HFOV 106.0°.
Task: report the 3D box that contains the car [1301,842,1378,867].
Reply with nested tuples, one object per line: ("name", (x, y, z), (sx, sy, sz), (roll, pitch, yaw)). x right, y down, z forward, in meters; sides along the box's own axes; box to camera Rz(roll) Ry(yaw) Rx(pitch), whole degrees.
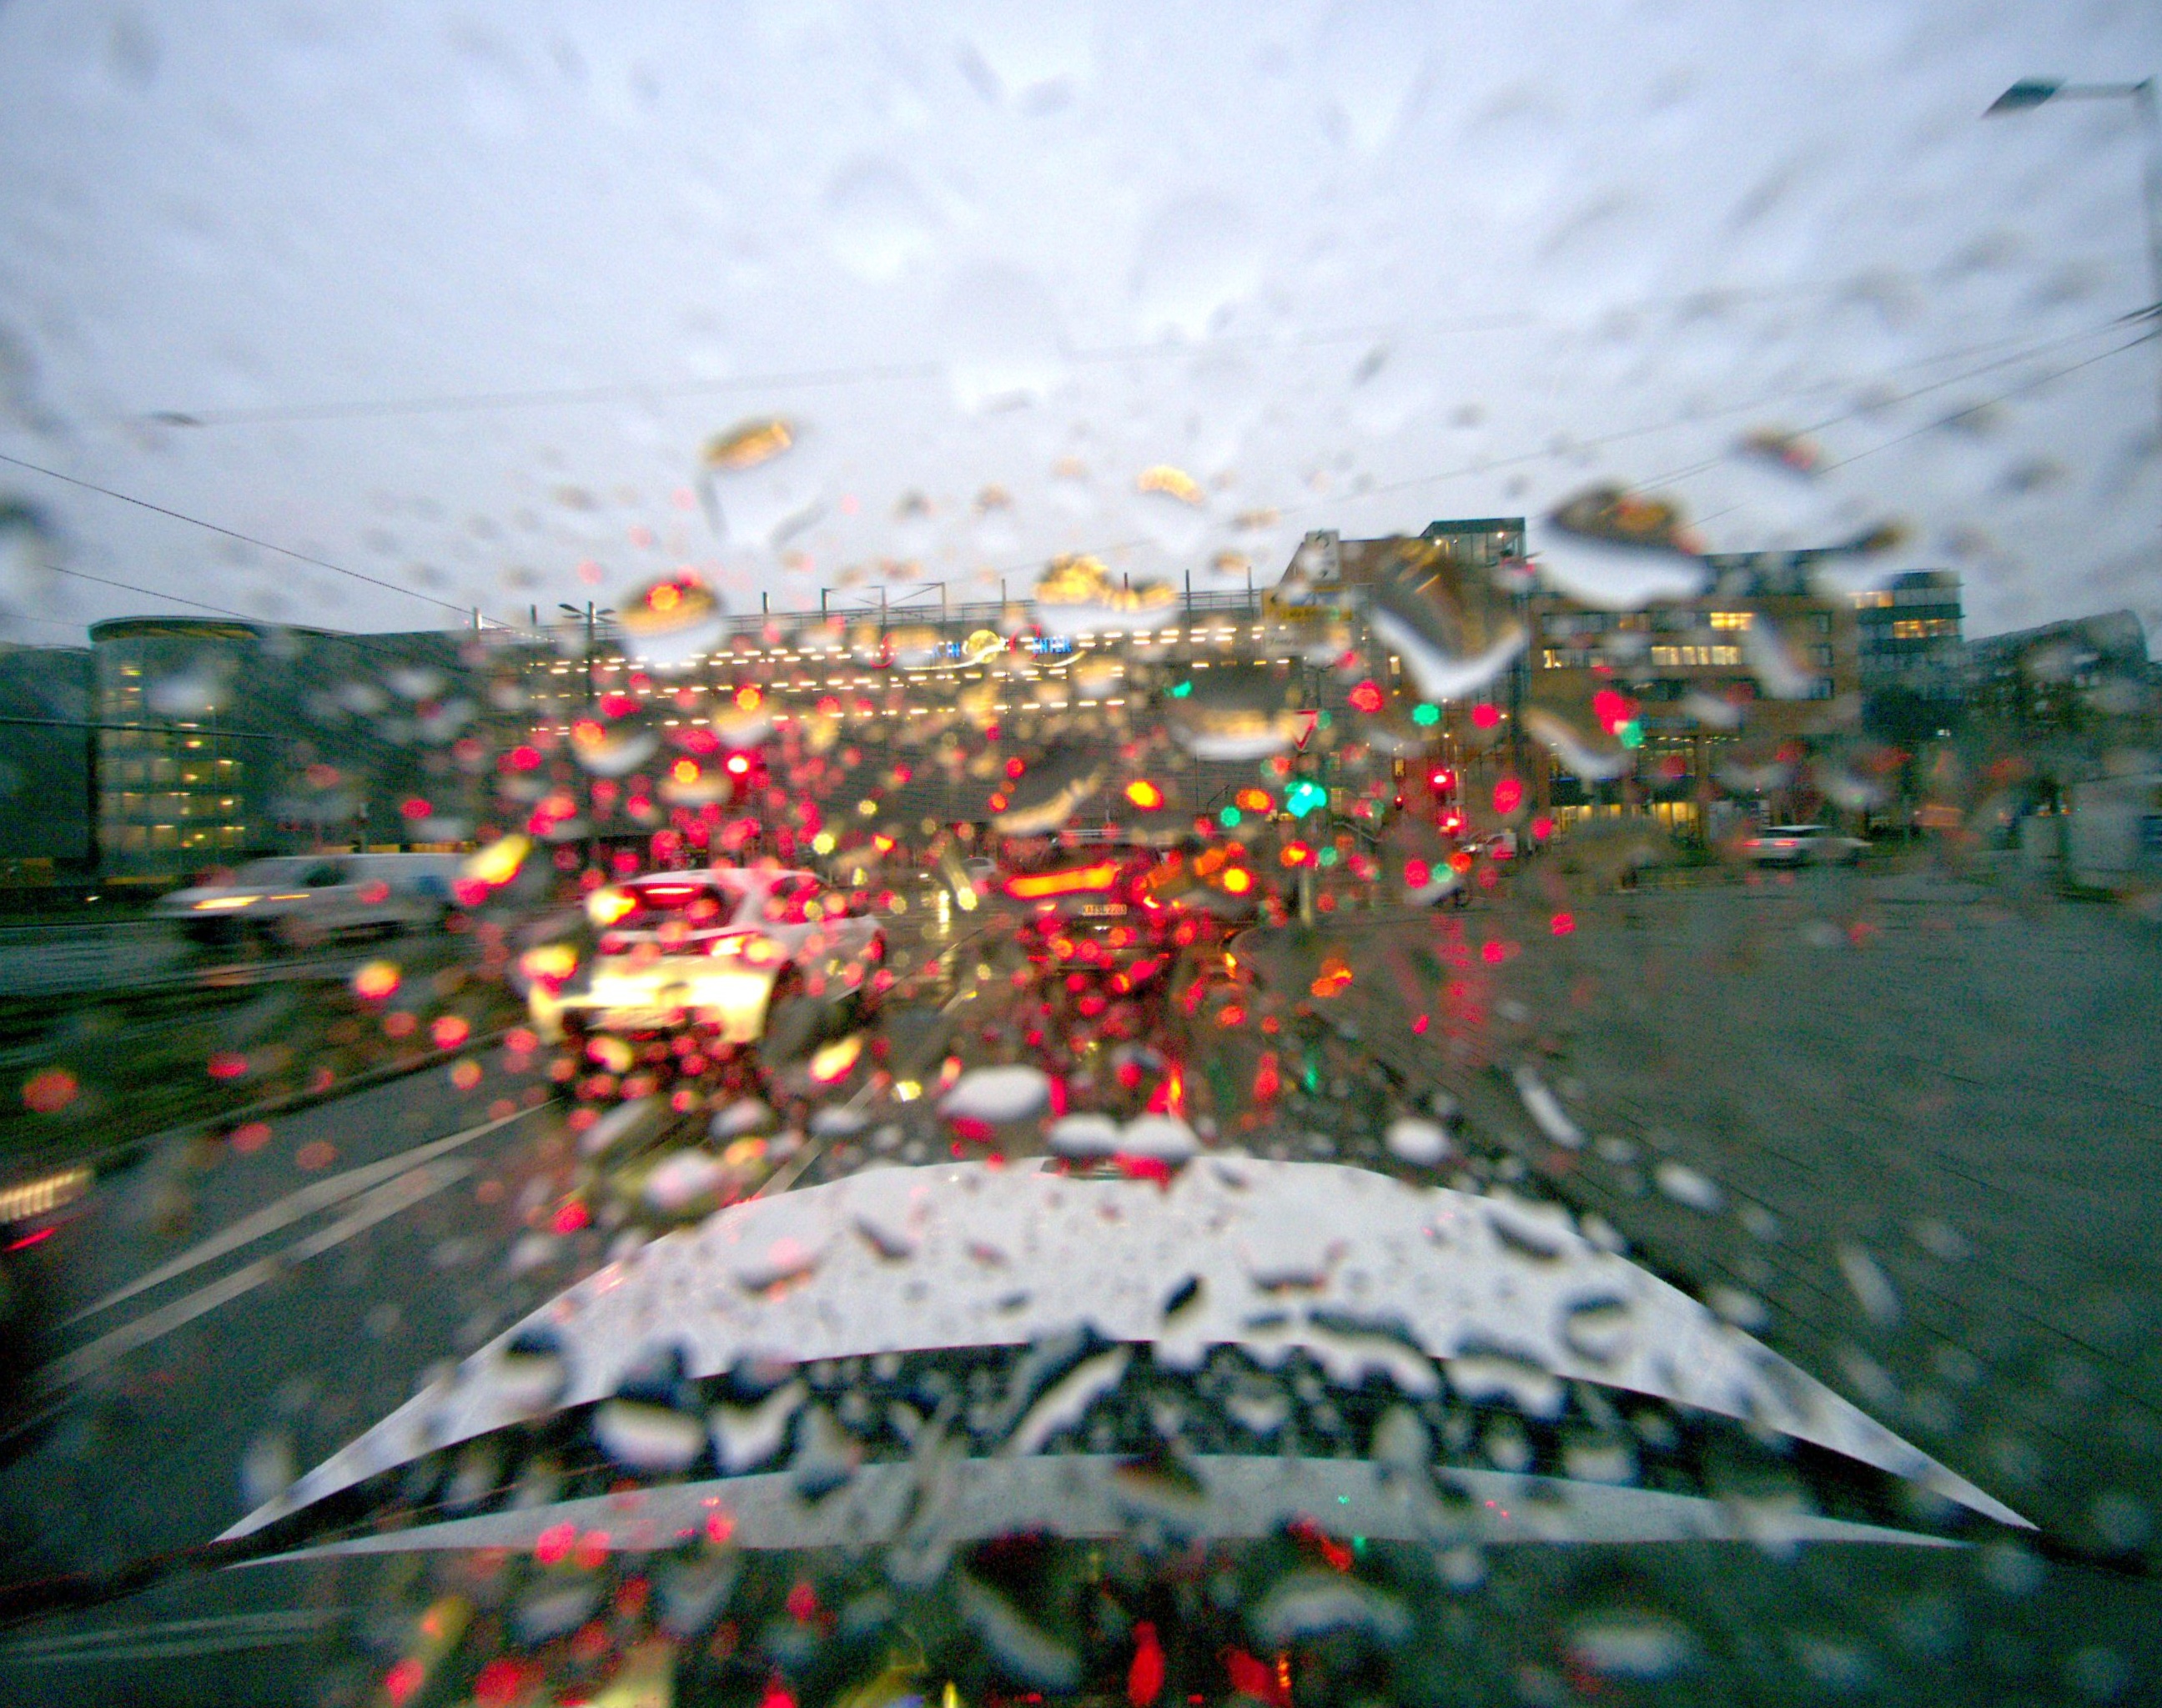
("car", (16.668, 0.020, 52.544), (4.403, 1.444, 1.626), (-2, 0, -6))

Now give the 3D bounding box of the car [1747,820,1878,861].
("car", (27.093, -0.479, 30.192), (3.721, 1.361, 1.639), (-2, 0, -10))

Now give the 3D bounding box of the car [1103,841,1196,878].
("car", (4.251, 0.336, 50.046), (5.684, 2.059, 1.933), (-2, 0, -34))

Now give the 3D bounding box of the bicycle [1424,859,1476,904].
("bicycle", (8.566, 0.617, 18.948), (0.651, 0.973, 1.872), (-2, 0, 11))

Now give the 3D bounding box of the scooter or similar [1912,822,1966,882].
("scooter or similar", (17.983, -0.048, 17.065), (1.311, 1.206, 0.331), (-2, -1, -24))

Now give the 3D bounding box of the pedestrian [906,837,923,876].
("pedestrian", (-12.508, 0.189, 61.350), (0.958, 2.925, 1.115), (-1, -1, 4))

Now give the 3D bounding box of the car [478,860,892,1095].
("car", (-3.033, 0.816, 7.263), (1.752, 1.463, 3.916), (-1, 0, 0))

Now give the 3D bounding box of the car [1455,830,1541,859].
("car", (27.053, -0.620, 52.972), (4.574, 1.719, 1.932), (-2, 0, 4))

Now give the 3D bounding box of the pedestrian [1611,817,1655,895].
("pedestrian", (13.649, 0.044, 20.149), (0.766, 1.877, 0.639), (-2, -1, 27))

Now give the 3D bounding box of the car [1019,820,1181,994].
("car", (0.357, 0.548, 10.388), (1.666, 1.779, 4.005), (0, 0, 5))

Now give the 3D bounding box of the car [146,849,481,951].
("car", (-16.251, 0.863, 17.704), (1.884, 1.871, 4.983), (-2, 0, 15))

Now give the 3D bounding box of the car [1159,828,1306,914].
("car", (3.750, 0.333, 19.482), (1.825, 1.806, 4.515), (-2, 0, 33))

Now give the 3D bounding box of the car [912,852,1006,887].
("car", (-5.871, 0.732, 39.600), (1.842, 1.486, 4.369), (-2, 0, 38))

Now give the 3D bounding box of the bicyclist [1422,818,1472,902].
("bicyclist", (8.470, 0.139, 18.899), (0.786, 1.890, 0.992), (-2, 0, 11))

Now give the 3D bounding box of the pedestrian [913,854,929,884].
("pedestrian", (-13.153, 1.196, 66.999), (1.105, 2.439, 0.967), (-1, -1, 4))
